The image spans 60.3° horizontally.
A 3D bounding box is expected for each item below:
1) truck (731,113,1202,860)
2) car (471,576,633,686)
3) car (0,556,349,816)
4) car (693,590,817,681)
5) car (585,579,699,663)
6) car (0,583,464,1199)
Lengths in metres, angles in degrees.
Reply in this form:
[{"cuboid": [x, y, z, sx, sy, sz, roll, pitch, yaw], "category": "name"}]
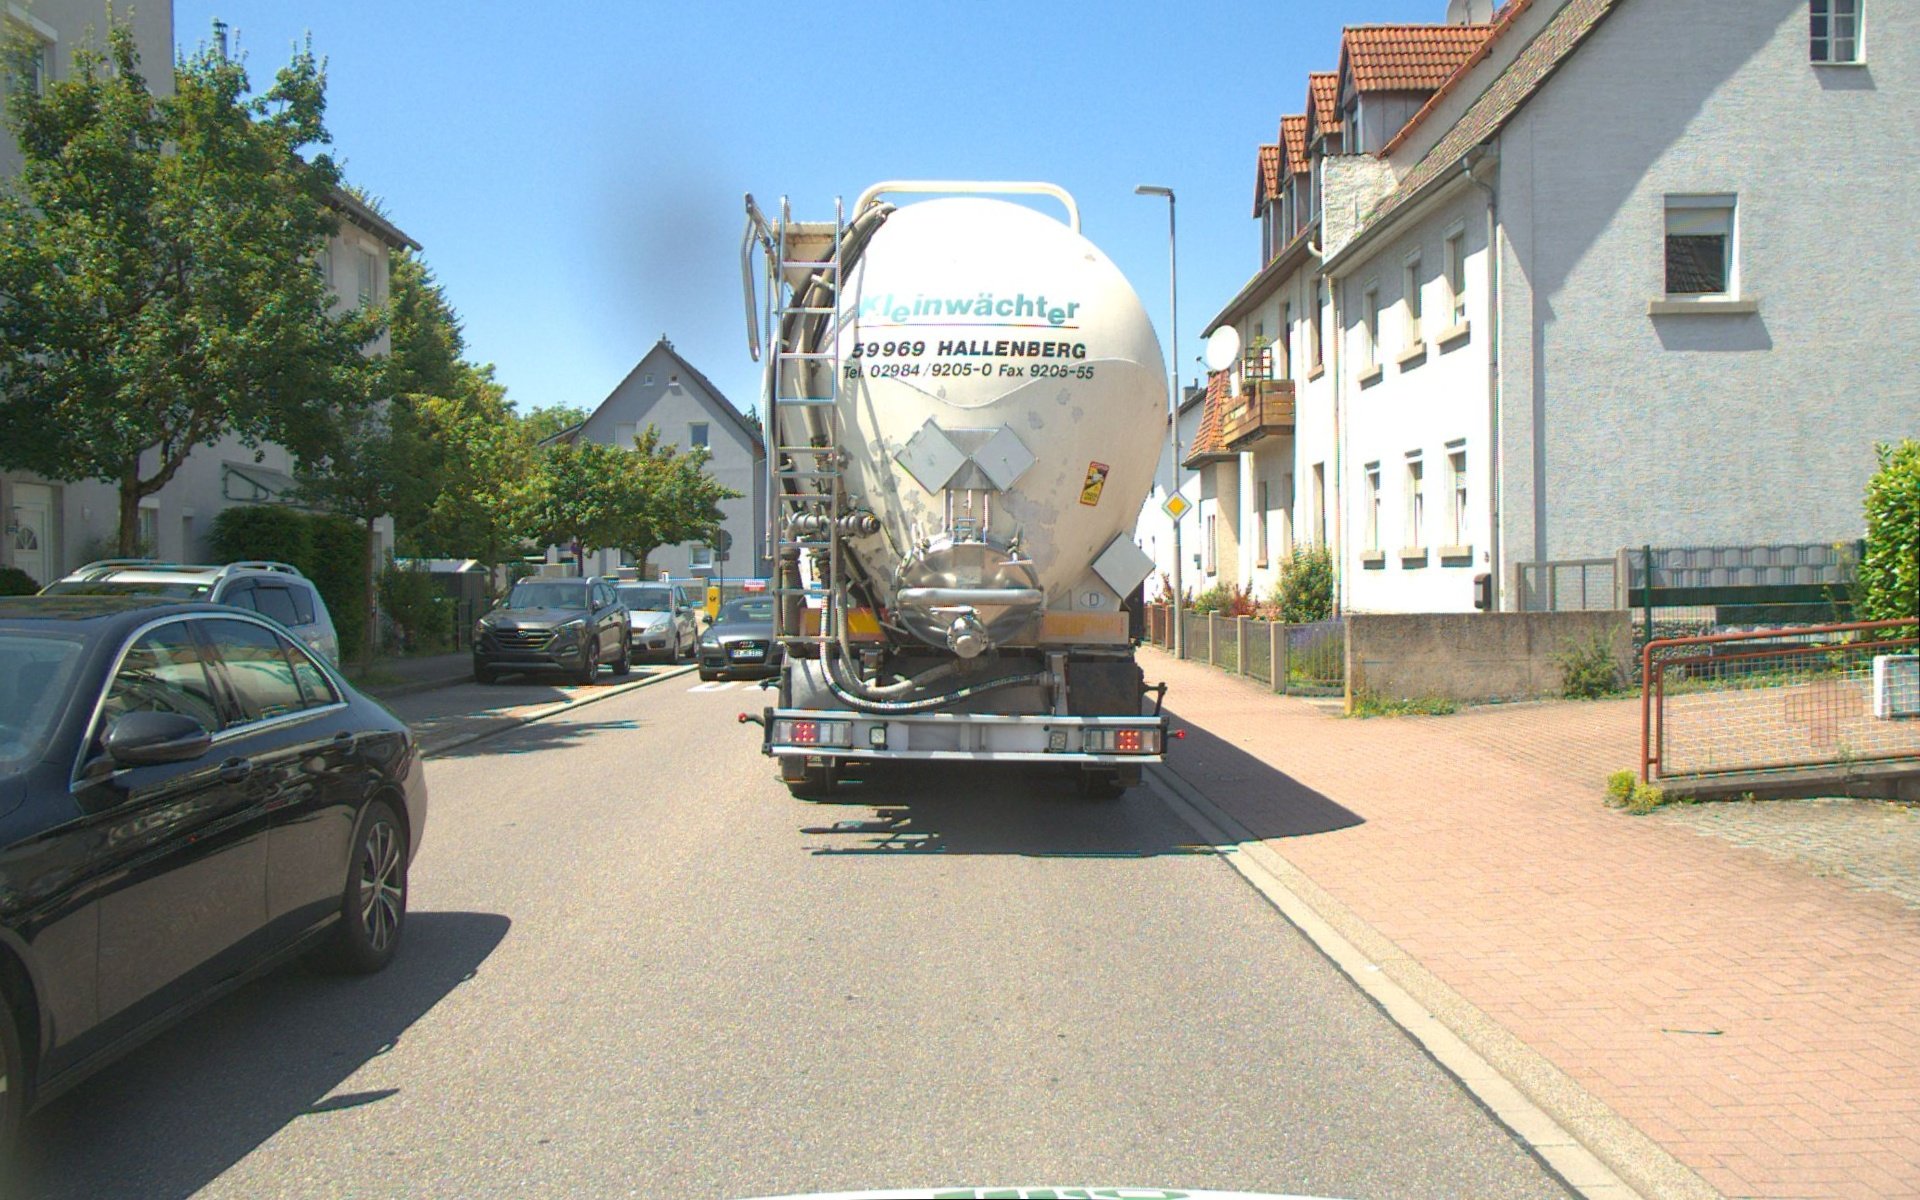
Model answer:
[{"cuboid": [-0.116, -0.674, 13.888, 2.588, 4.086, 9.558, 0, 1, -2], "category": "truck"}, {"cuboid": [-6.565, 0.450, 27.004, 1.657, 1.648, 3.997, 0, 0, 0], "category": "car"}, {"cuboid": [-6.481, 0.545, 13.157, 1.672, 1.716, 4.524, 0, 1, -2], "category": "car"}, {"cuboid": [-3.517, 0.569, 28.984, 1.671, 1.394, 3.868, -3, 1, -1], "category": "car"}, {"cuboid": [-6.423, 0.396, 33.778, 1.663, 1.608, 3.837, 0, 0, -1], "category": "car"}, {"cuboid": [-3.028, 0.711, 5.041, 1.695, 1.485, 4.693, -1, 1, -2], "category": "car"}]
